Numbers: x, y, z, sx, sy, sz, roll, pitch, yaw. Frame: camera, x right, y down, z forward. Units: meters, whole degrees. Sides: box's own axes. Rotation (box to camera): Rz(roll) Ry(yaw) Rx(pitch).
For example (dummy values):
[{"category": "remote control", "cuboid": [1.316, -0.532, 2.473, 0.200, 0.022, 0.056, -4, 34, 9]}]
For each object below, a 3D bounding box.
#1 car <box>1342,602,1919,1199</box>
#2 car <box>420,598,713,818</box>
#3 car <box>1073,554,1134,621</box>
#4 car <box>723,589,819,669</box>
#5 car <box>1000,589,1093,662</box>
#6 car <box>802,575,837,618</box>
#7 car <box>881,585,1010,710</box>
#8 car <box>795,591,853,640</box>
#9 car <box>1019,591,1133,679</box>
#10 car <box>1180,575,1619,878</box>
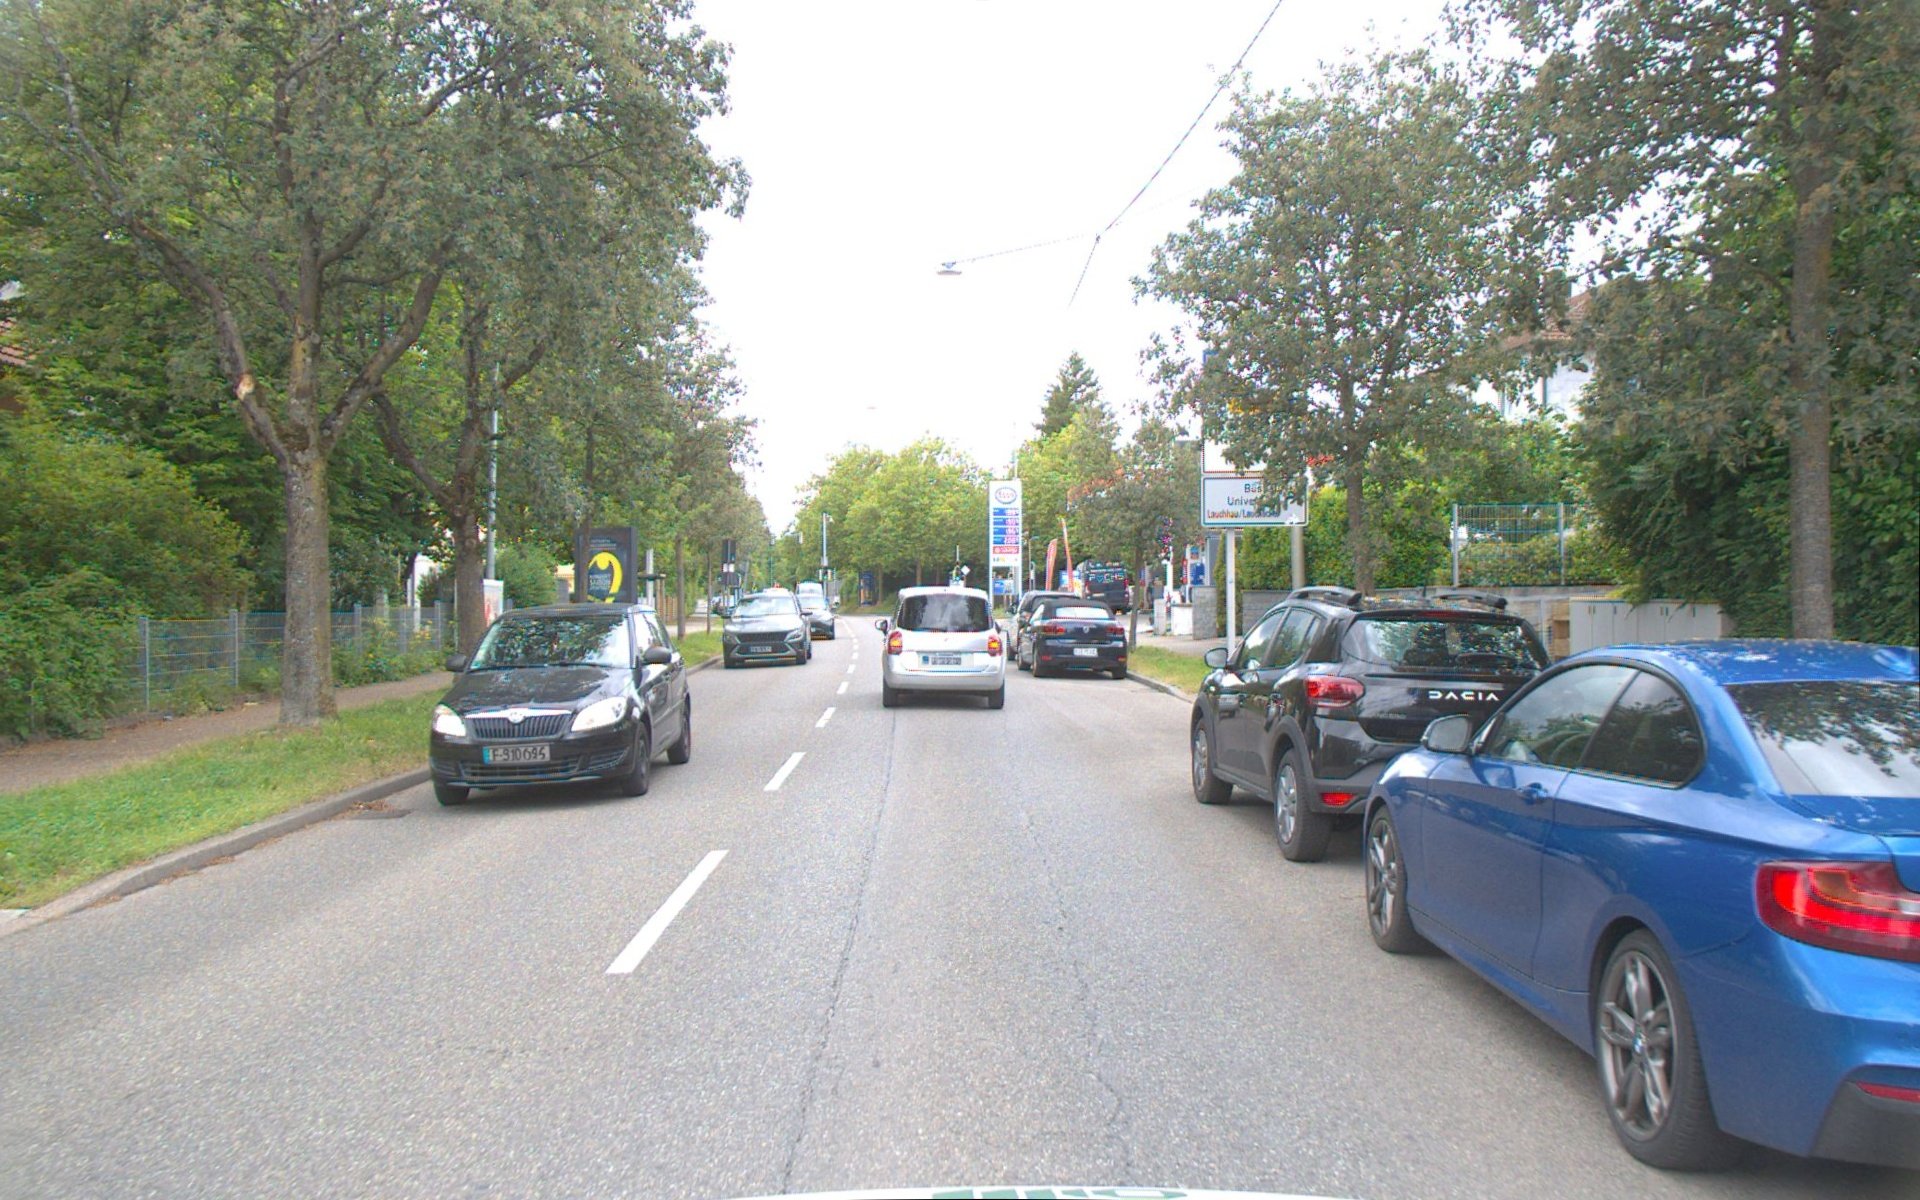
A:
[{"category": "car", "cuboid": [2.708, 0.761, 5.760, 1.662, 1.458, 4.339, 0, 0, -1]}, {"category": "car", "cuboid": [-3.130, 0.780, 13.841, 1.513, 1.496, 3.742, -2, 0, 0]}, {"category": "car", "cuboid": [6.606, -0.574, 76.747, 2.235, 2.962, 5.278, 1, 0, -1]}, {"category": "car", "cuboid": [-4.132, 0.604, 36.607, 1.758, 1.582, 3.670, -3, 1, -2]}, {"category": "car", "cuboid": [1.884, 0.526, 36.984, 1.662, 1.532, 3.642, 0, 0, -4]}, {"category": "car", "cuboid": [-8.204, -0.238, 96.801, 1.896, 2.450, 3.998, 0, 0, -3]}, {"category": "car", "cuboid": [-0.234, 0.595, 23.002, 1.645, 1.587, 3.511, 0, 0, -2]}, {"category": "car", "cuboid": [-4.426, 0.473, 54.220, 1.661, 1.532, 3.643, 0, 0, -1]}, {"category": "car", "cuboid": [2.142, 0.614, 31.456, 1.662, 1.532, 3.970, 0, 0, -4]}, {"category": "car", "cuboid": [2.674, 0.681, 11.022, 1.661, 1.598, 3.953, -2, 0, -3]}]
